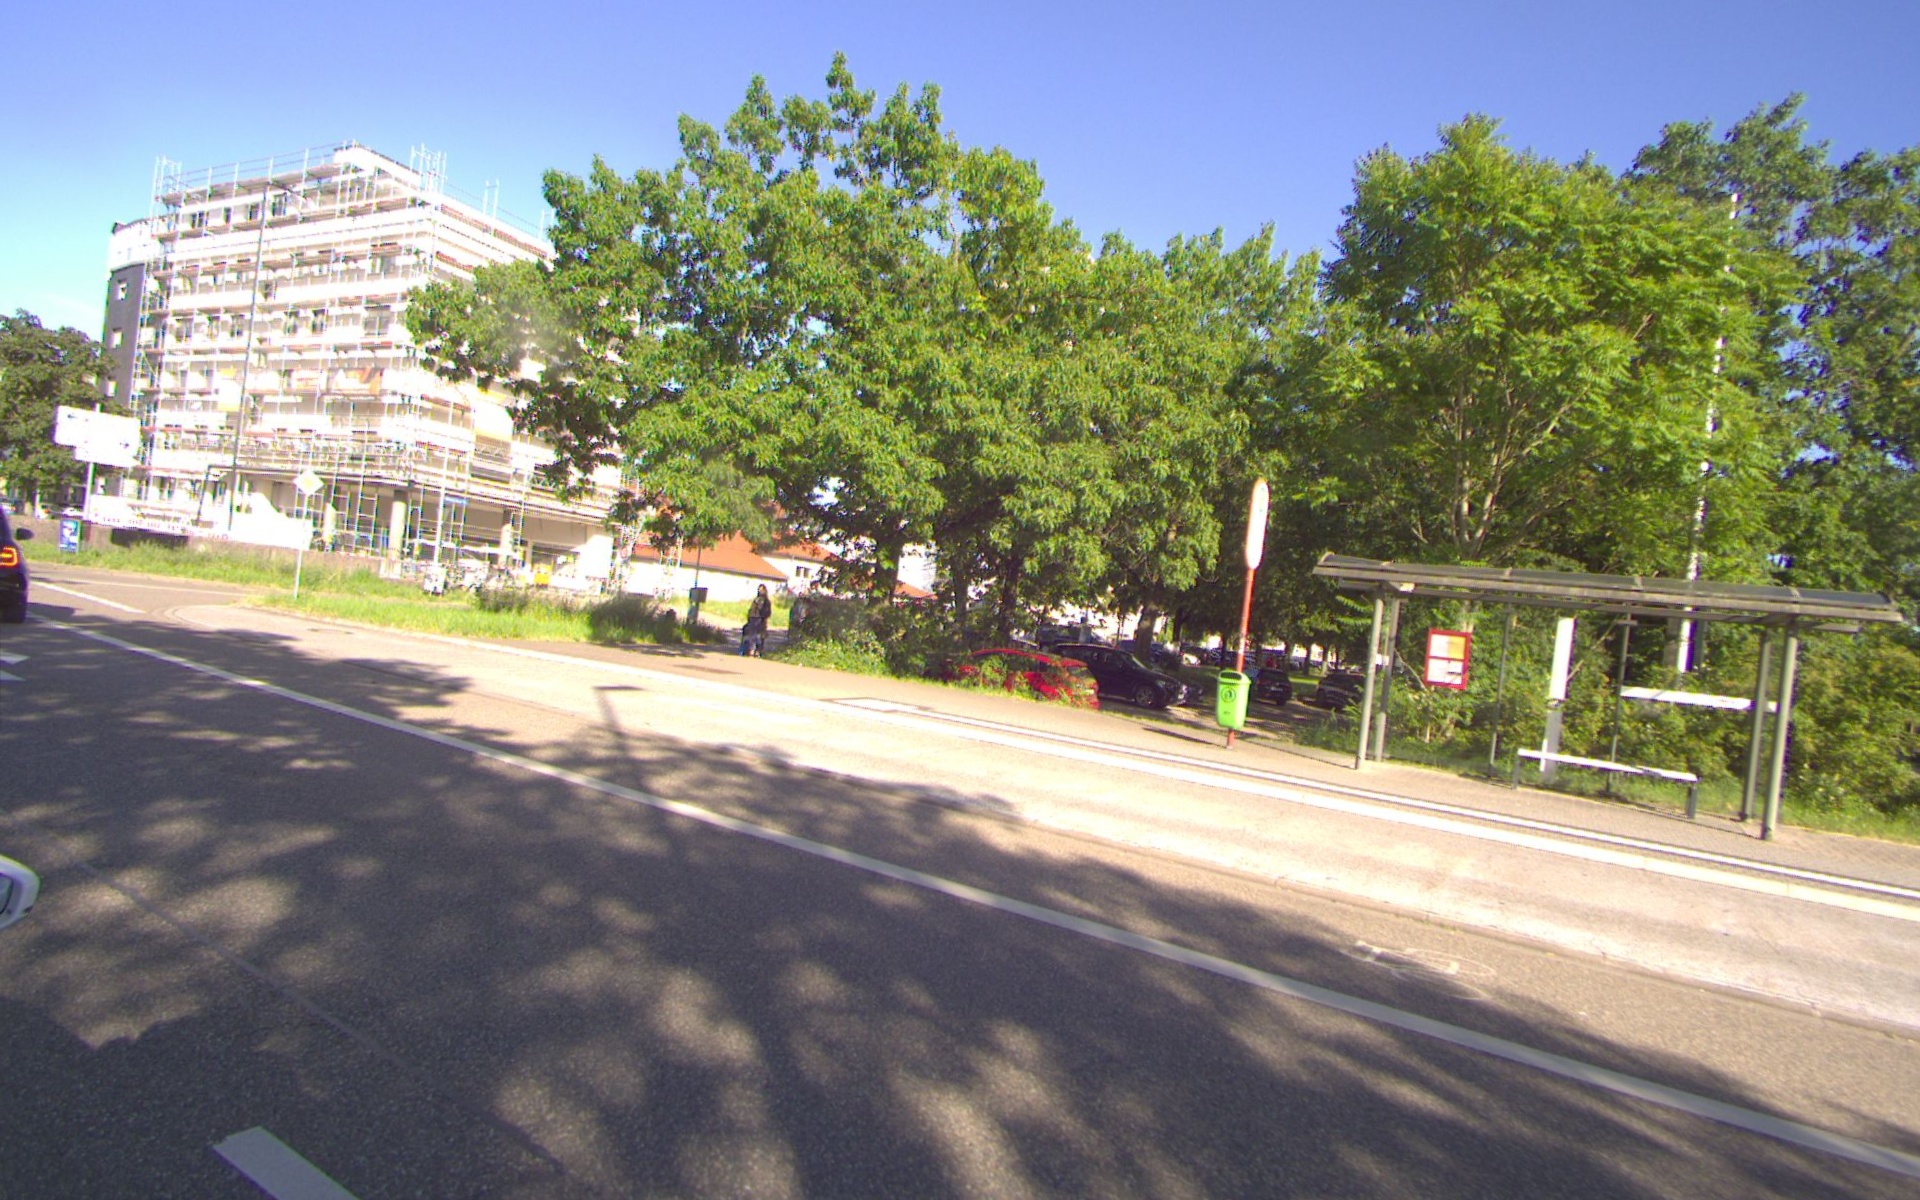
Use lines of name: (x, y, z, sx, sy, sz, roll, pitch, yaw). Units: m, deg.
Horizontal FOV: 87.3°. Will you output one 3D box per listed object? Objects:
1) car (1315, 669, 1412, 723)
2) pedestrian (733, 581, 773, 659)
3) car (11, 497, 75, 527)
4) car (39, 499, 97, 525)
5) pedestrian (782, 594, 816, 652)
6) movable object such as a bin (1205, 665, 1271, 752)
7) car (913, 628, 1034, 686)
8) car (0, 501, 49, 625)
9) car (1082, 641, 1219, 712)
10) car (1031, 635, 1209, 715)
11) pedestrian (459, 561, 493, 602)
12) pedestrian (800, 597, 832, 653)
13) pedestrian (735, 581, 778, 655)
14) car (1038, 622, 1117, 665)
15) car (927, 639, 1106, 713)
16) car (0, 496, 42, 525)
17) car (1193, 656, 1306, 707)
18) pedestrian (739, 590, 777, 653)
car: (17.054, 4.017, 42.758, 1.965, 1.621, 3.994, 7, 0, -7)
pedestrian: (-4.746, 0.476, 23.098, 0.403, 1.721, 0.603, 7, 0, 31)
car: (-58.988, -5.617, 64.754, 1.802, 1.526, 3.975, 7, 0, -25)
car: (-76.405, -7.526, 86.162, 3.925, 1.613, 1.911, 7, 0, 18)
pedestrian: (-4.839, 0.688, 30.270, 0.557, 1.638, 0.705, 6, -1, 26)
movable object such as a bin: (3.707, 1.432, 13.396, 0.568, 1.042, 0.727, 7, 0, 31)
car: (0.487, 2.108, 37.430, 3.938, 1.625, 1.996, 5, -3, 35)
car: (-13.735, -0.665, 13.383, 3.508, 1.521, 1.674, 6, -1, 37)
car: (6.342, 2.535, 33.604, 3.938, 1.835, 1.846, 5, -2, 35)
car: (4.846, 2.277, 30.761, 4.811, 1.556, 1.997, 9, -1, 34)
pedestrian: (-19.571, -0.758, 40.684, 0.892, 1.515, 0.651, 7, 0, 23)
pedestrian: (-4.458, 0.774, 31.078, 0.557, 1.638, 0.599, 6, -1, 26)
pedestrian: (-4.825, 0.436, 23.831, 0.542, 1.654, 0.622, 7, 0, 32)
car: (7.338, 2.732, 62.957, 4.282, 2.098, 1.995, 6, -1, 34)
car: (1.285, 1.738, 23.408, 3.846, 1.168, 1.399, 7, -1, 30)
car: (-56.952, -5.425, 60.288, 1.759, 1.460, 3.595, 8, -1, -26)
car: (11.976, 3.358, 41.776, 1.989, 1.573, 3.951, 9, -3, -44)
pedestrian: (-5.222, 0.552, 25.985, 0.604, 1.537, 0.528, 7, 0, 34)
